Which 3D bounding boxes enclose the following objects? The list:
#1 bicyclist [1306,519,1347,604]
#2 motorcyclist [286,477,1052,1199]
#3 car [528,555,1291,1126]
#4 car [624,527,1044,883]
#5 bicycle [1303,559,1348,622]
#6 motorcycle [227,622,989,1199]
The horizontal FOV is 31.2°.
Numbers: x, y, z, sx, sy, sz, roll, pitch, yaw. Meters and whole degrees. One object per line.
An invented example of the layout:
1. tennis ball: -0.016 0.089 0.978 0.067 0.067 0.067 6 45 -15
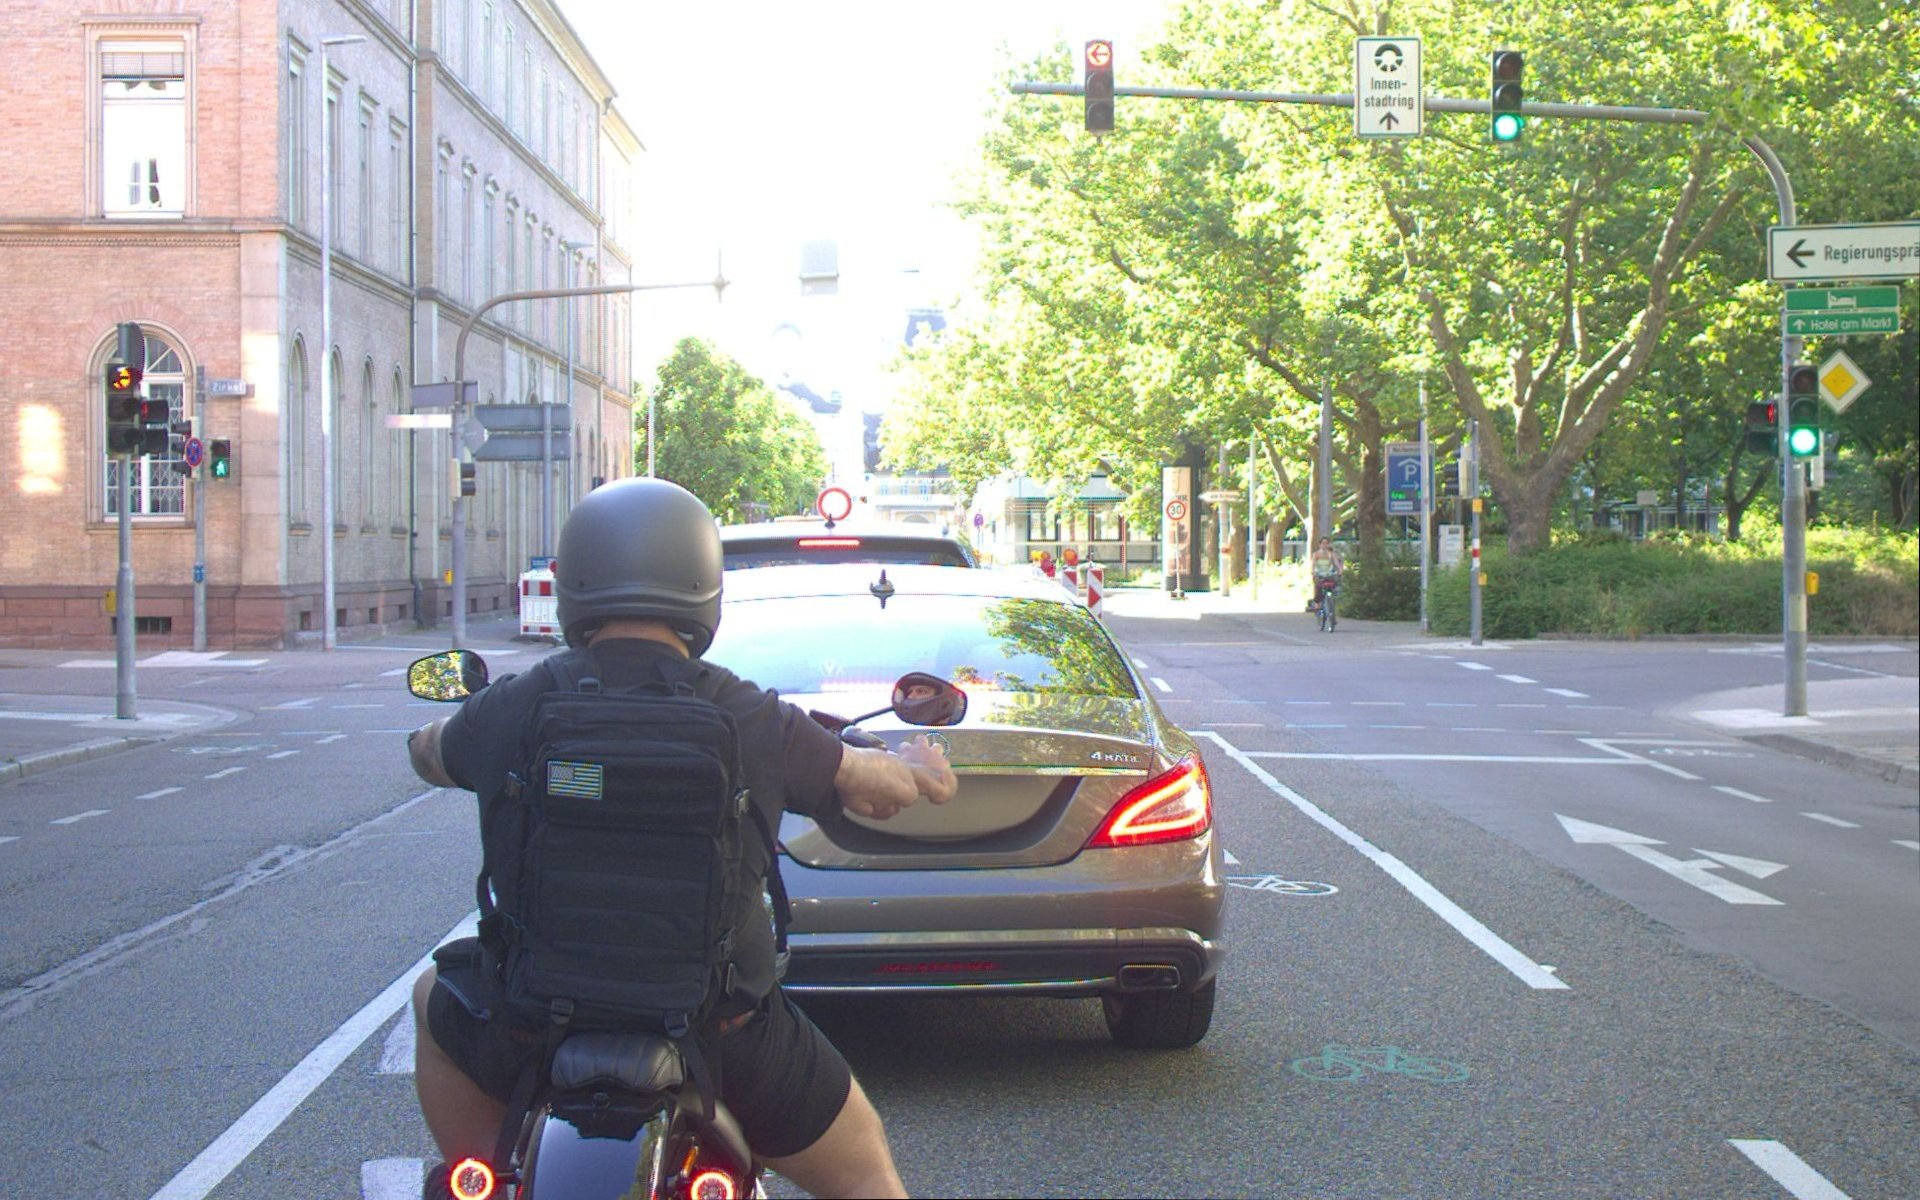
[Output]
1. bicyclist: 6.887 -0.714 64.632 0.716 1.577 0.936 1 0 3
2. motorcyclist: -0.417 0.619 5.276 1.061 1.577 0.908 1 0 -1
3. car: -0.382 0.587 11.059 1.901 1.436 4.290 0 1 -8
4. car: -0.648 0.417 16.779 1.813 1.530 3.849 0 1 -3
5. bicycle: 6.876 -0.189 64.790 0.716 1.168 2.176 1 1 3
6. motorcycle: -0.467 0.737 5.548 0.962 1.352 2.320 1 1 -1
